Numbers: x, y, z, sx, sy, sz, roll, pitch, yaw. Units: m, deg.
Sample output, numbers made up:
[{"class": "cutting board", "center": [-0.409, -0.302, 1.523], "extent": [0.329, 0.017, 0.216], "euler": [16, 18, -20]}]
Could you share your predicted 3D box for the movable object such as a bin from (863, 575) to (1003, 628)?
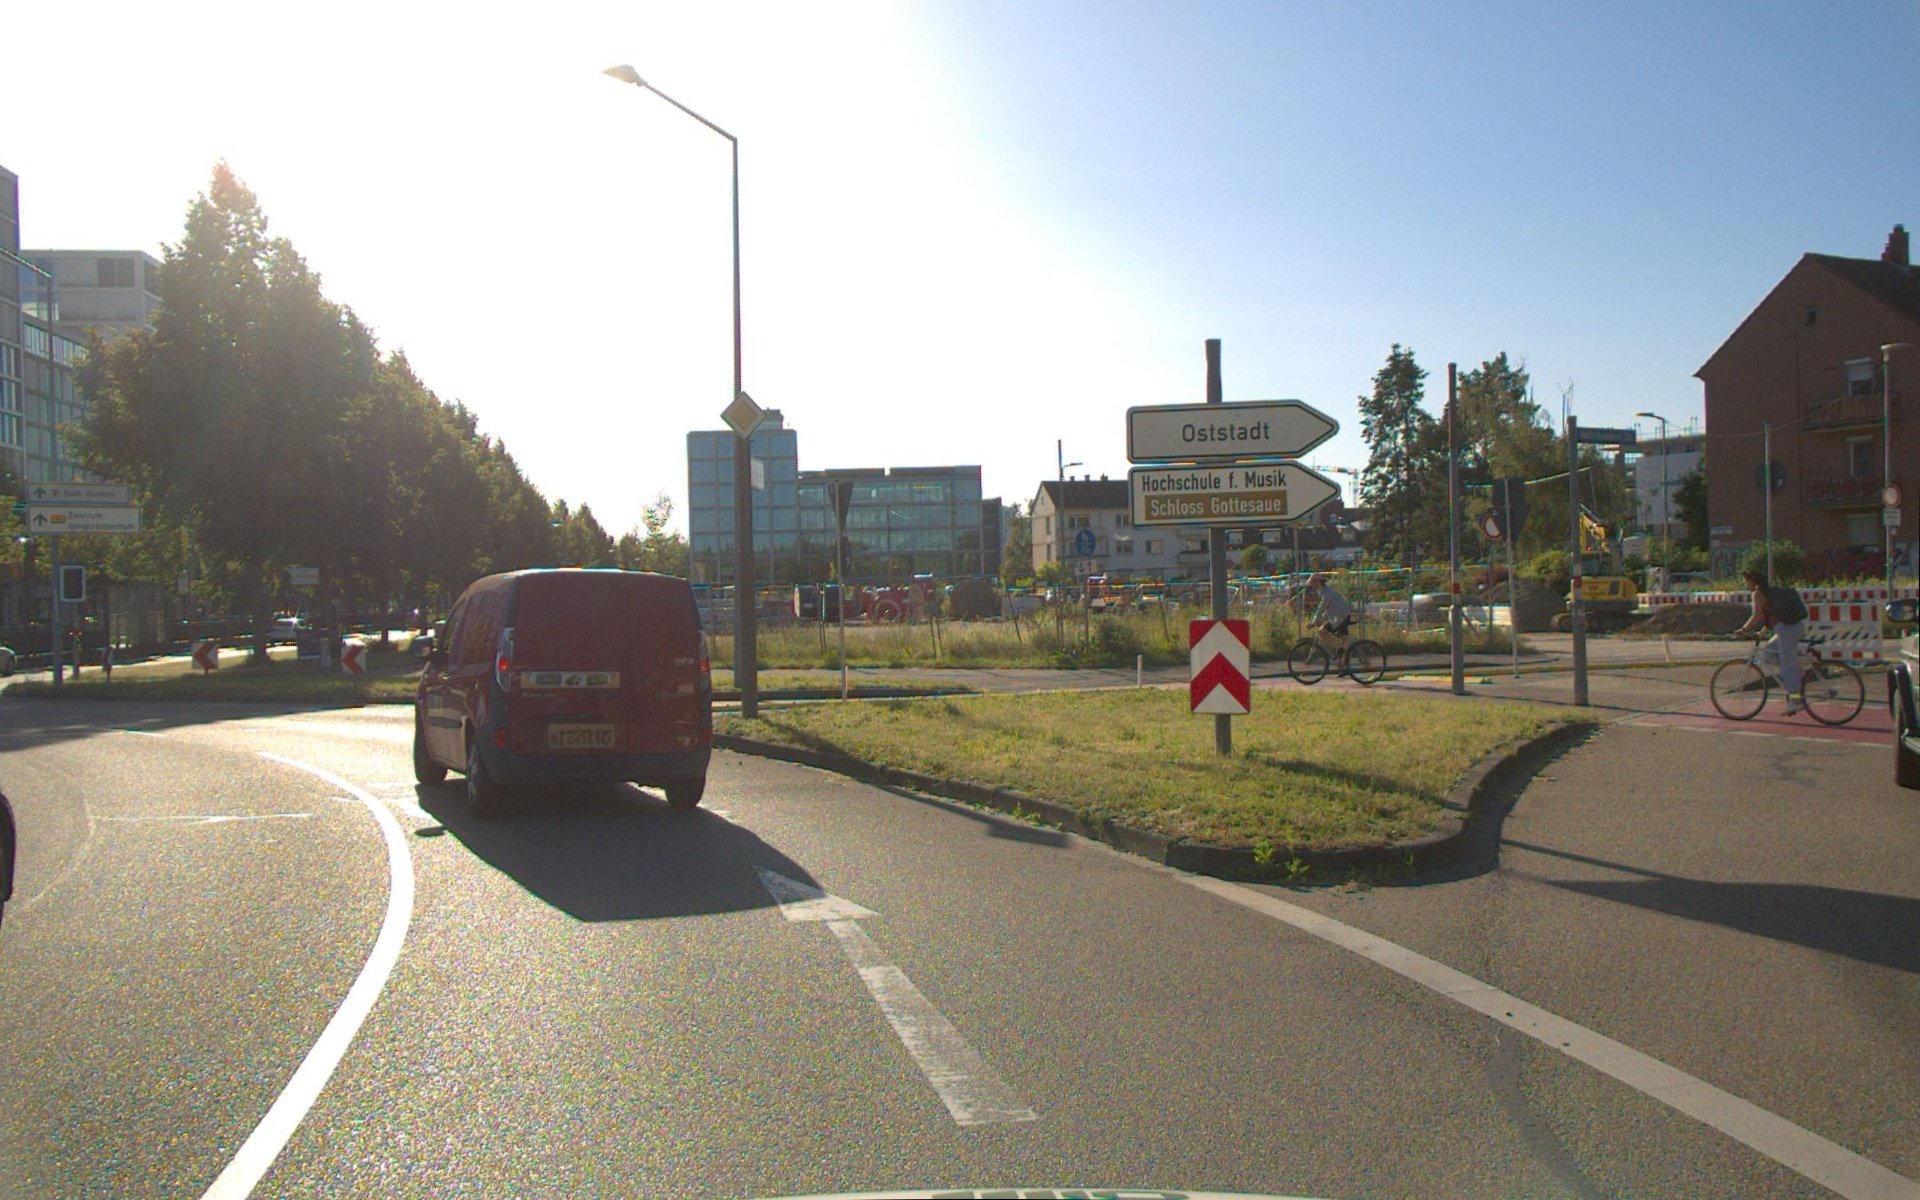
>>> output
[{"class": "movable object such as a bin", "center": [-1.569, 0.062, 94.600], "extent": [7.754, 2.831, 2.940], "euler": [-1, 0, -6]}]

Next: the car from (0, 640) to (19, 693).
[{"class": "car", "center": [-31.070, 2.153, 51.261], "extent": [1.958, 1.602, 4.396], "euler": [-2, 1, -11]}]

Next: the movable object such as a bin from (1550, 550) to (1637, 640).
[{"class": "movable object such as a bin", "center": [20.679, -0.169, 54.127], "extent": [2.368, 2.822, 4.002], "euler": [1, 0, 17]}]

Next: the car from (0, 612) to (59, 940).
[{"class": "car", "center": [-4.710, 0.790, 5.579], "extent": [1.729, 1.404, 4.345], "euler": [-1, 1, -12]}]

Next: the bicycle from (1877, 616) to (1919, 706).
[{"class": "bicycle", "center": [11.668, 0.717, 19.104], "extent": [0.652, 1.045, 1.803], "euler": [0, 0, -32]}]

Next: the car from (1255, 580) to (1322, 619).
[{"class": "car", "center": [17.656, -0.029, 89.118], "extent": [1.959, 2.049, 4.485], "euler": [0, 0, -12]}]

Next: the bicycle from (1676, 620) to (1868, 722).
[{"class": "bicycle", "center": [8.934, 0.758, 18.243], "extent": [1.793, 1.045, 0.656], "euler": [0, 0, 44]}]

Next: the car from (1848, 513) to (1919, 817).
[{"class": "car", "center": [7.224, 0.399, 10.743], "extent": [1.956, 1.930, 4.753], "euler": [-1, 0, 21]}]

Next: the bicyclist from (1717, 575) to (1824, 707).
[{"class": "bicyclist", "center": [8.930, 0.436, 18.231], "extent": [0.919, 1.409, 0.656], "euler": [0, 0, 44]}]

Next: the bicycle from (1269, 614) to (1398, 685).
[{"class": "bicycle", "center": [6.088, 0.790, 27.041], "extent": [0.736, 1.045, 1.981], "euler": [-4, 3, -40]}]

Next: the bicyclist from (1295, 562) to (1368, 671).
[{"class": "bicyclist", "center": [6.062, 0.252, 27.005], "extent": [0.736, 1.709, 0.841], "euler": [-4, 3, -41]}]

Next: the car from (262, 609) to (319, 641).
[{"class": "car", "center": [-37.377, 1.382, 92.449], "extent": [1.957, 1.602, 4.399], "euler": [-2, 1, -9]}]

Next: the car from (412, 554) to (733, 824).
[{"class": "car", "center": [-3.266, 0.626, 13.404], "extent": [1.780, 1.845, 3.778], "euler": [0, -1, -26]}]

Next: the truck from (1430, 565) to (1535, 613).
[{"class": "truck", "center": [23.215, -0.502, 73.818], "extent": [2.122, 2.049, 6.429], "euler": [0, 0, -5]}]
